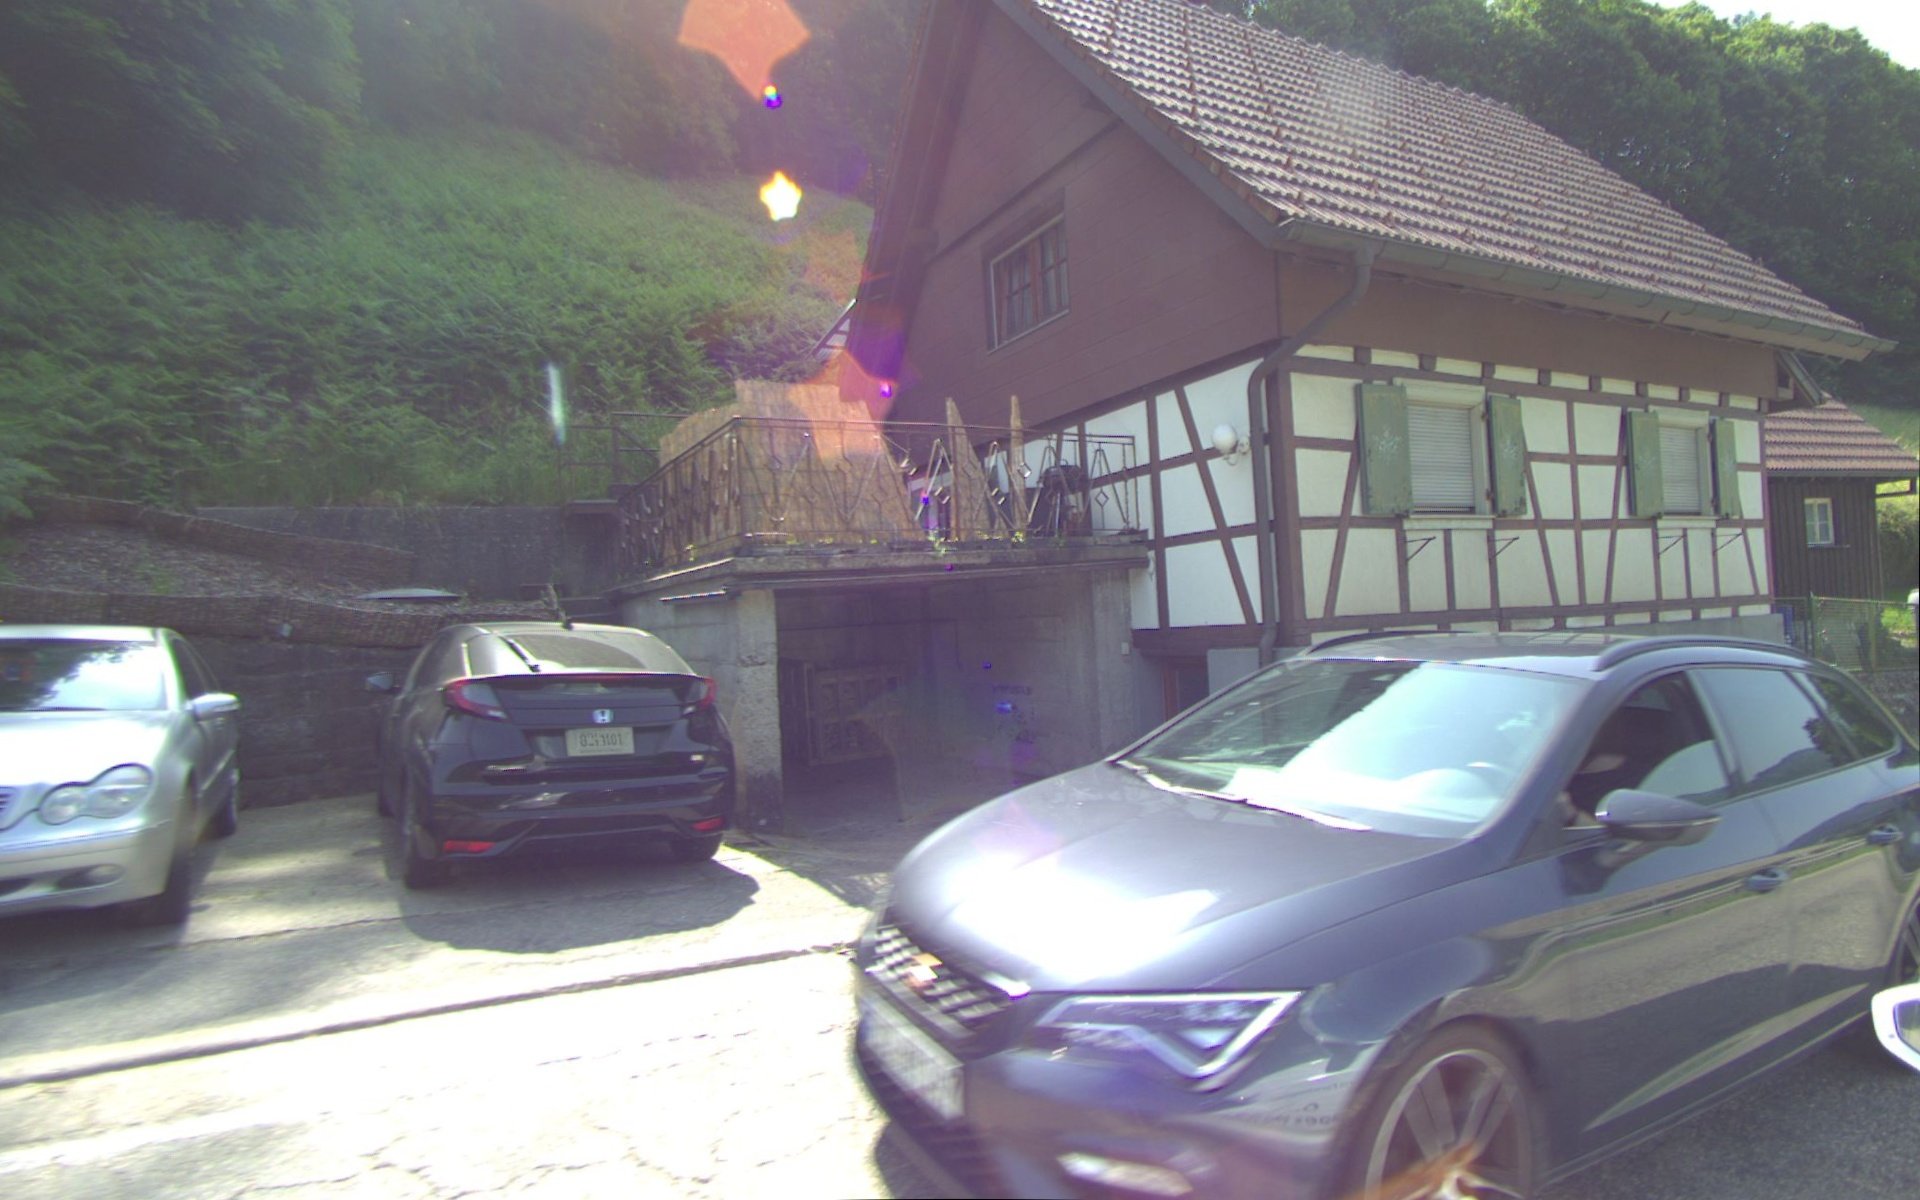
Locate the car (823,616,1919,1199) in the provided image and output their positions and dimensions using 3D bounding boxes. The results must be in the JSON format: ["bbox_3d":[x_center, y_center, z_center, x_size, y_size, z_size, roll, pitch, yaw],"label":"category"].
[{"bbox_3d":[1.776,0.811,3.461,4.096,1.415,1.756,2,-2,-30],"label":"car"}]

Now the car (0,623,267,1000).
[{"bbox_3d":[-4.905,0.843,5.307,1.837,1.435,3.795,2,-2,-32],"label":"car"}]

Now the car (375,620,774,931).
[{"bbox_3d":[-2.840,0.938,6.842,1.843,1.451,3.796,2,-4,-32],"label":"car"}]
